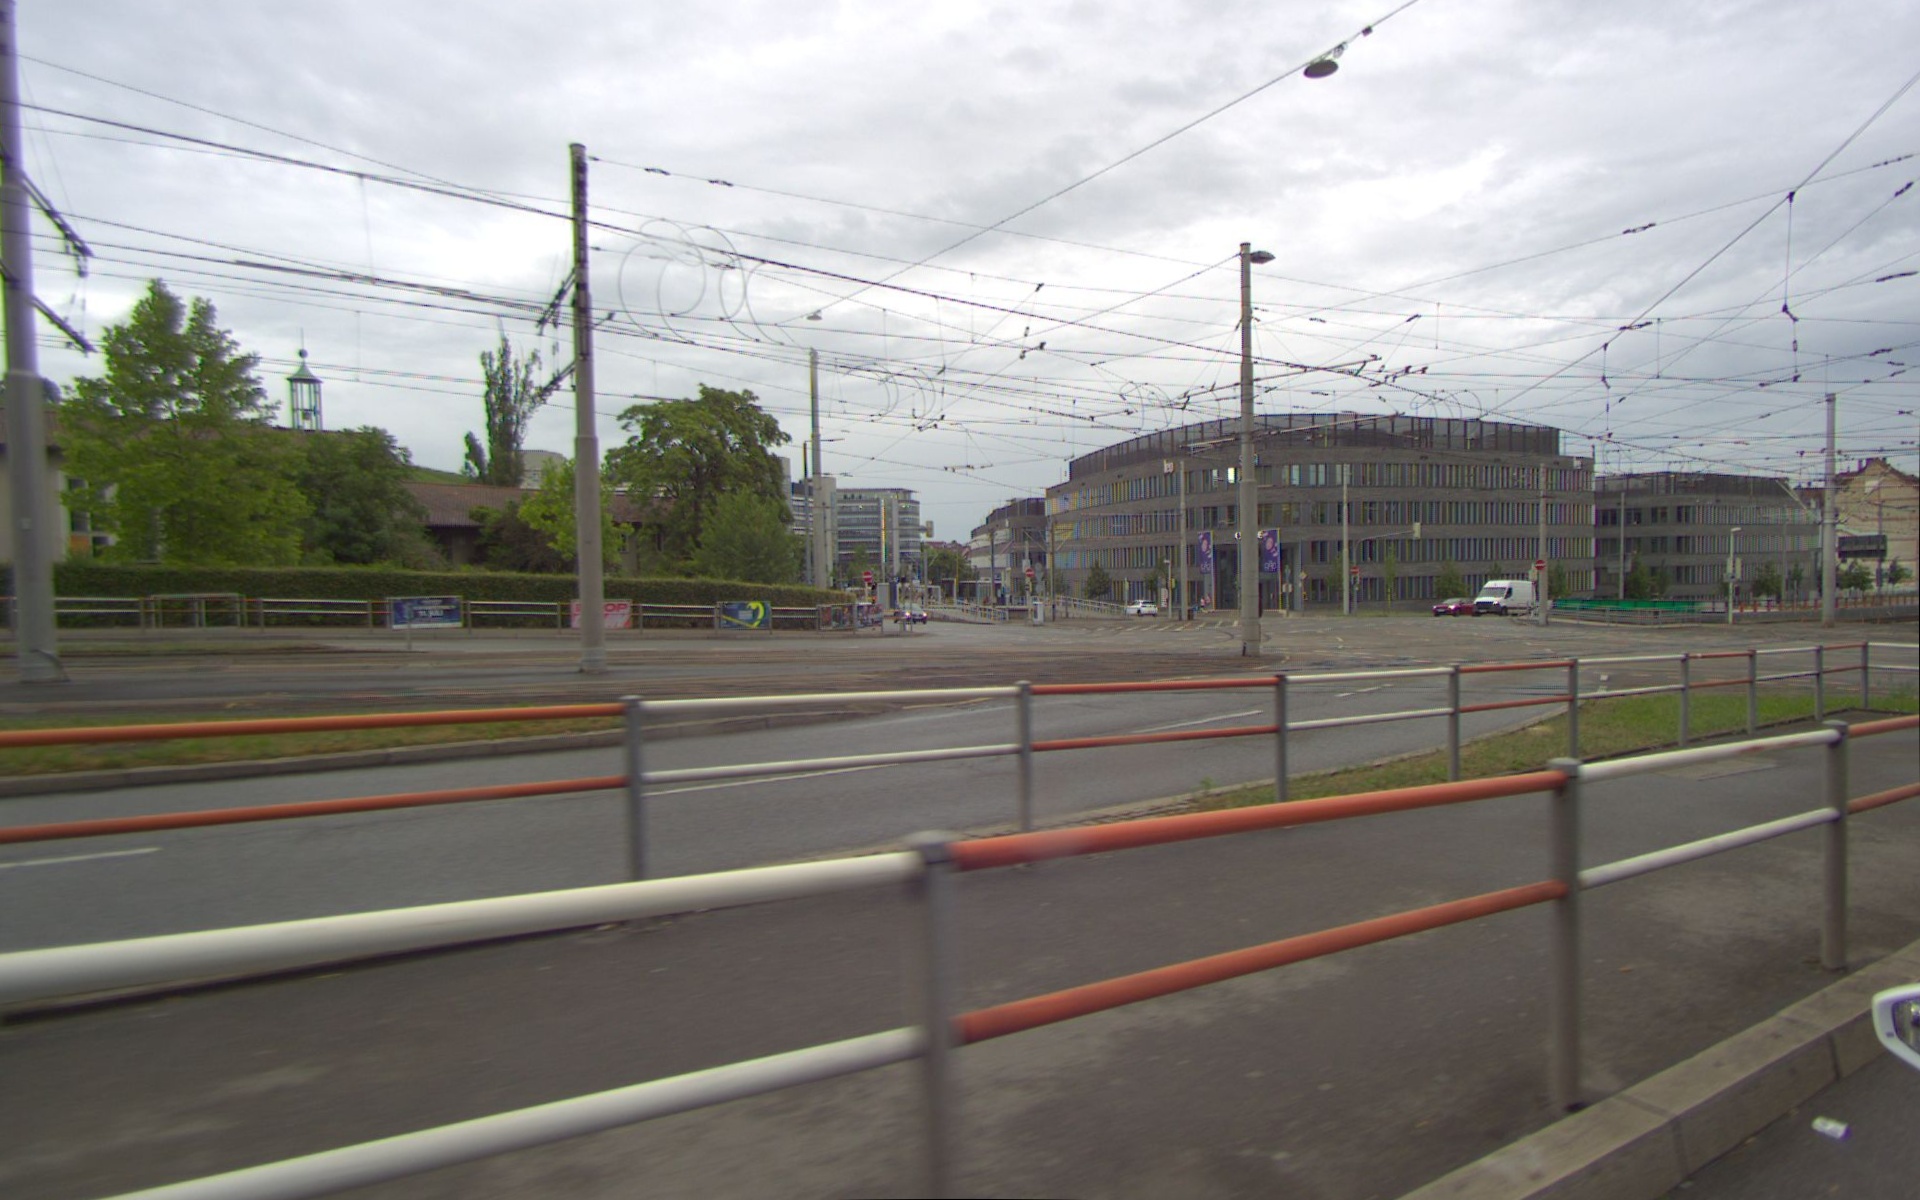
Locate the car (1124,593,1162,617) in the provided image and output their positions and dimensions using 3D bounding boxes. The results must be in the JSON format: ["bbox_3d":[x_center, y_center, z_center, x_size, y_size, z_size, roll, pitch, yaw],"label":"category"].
[{"bbox_3d":[16.243,0.477,89.346,1.965,2.040,3.992,2,-1,-11],"label":"car"}]

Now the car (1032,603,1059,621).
[{"bbox_3d":[9.351,1.350,110.237,1.965,1.840,3.992,2,-1,-11],"label":"car"}]

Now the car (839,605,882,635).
[{"bbox_3d":[-7.135,1.406,71.622,1.971,2.040,3.980,3,-1,-21],"label":"car"}]

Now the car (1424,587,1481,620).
[{"bbox_3d":[36.313,0.274,74.038,4.206,2.181,1.980,3,-2,-36],"label":"car"}]

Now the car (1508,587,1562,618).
[{"bbox_3d":[44.293,0.221,77.355,4.207,2.181,1.980,3,-2,-36],"label":"car"}]

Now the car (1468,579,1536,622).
[{"bbox_3d":[38.444,0.084,71.210,5.661,2.869,1.980,1,-2,-36],"label":"car"}]

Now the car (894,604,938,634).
[{"bbox_3d":[-3.258,1.355,73.566,1.971,2.040,3.980,3,-1,-21],"label":"car"}]
